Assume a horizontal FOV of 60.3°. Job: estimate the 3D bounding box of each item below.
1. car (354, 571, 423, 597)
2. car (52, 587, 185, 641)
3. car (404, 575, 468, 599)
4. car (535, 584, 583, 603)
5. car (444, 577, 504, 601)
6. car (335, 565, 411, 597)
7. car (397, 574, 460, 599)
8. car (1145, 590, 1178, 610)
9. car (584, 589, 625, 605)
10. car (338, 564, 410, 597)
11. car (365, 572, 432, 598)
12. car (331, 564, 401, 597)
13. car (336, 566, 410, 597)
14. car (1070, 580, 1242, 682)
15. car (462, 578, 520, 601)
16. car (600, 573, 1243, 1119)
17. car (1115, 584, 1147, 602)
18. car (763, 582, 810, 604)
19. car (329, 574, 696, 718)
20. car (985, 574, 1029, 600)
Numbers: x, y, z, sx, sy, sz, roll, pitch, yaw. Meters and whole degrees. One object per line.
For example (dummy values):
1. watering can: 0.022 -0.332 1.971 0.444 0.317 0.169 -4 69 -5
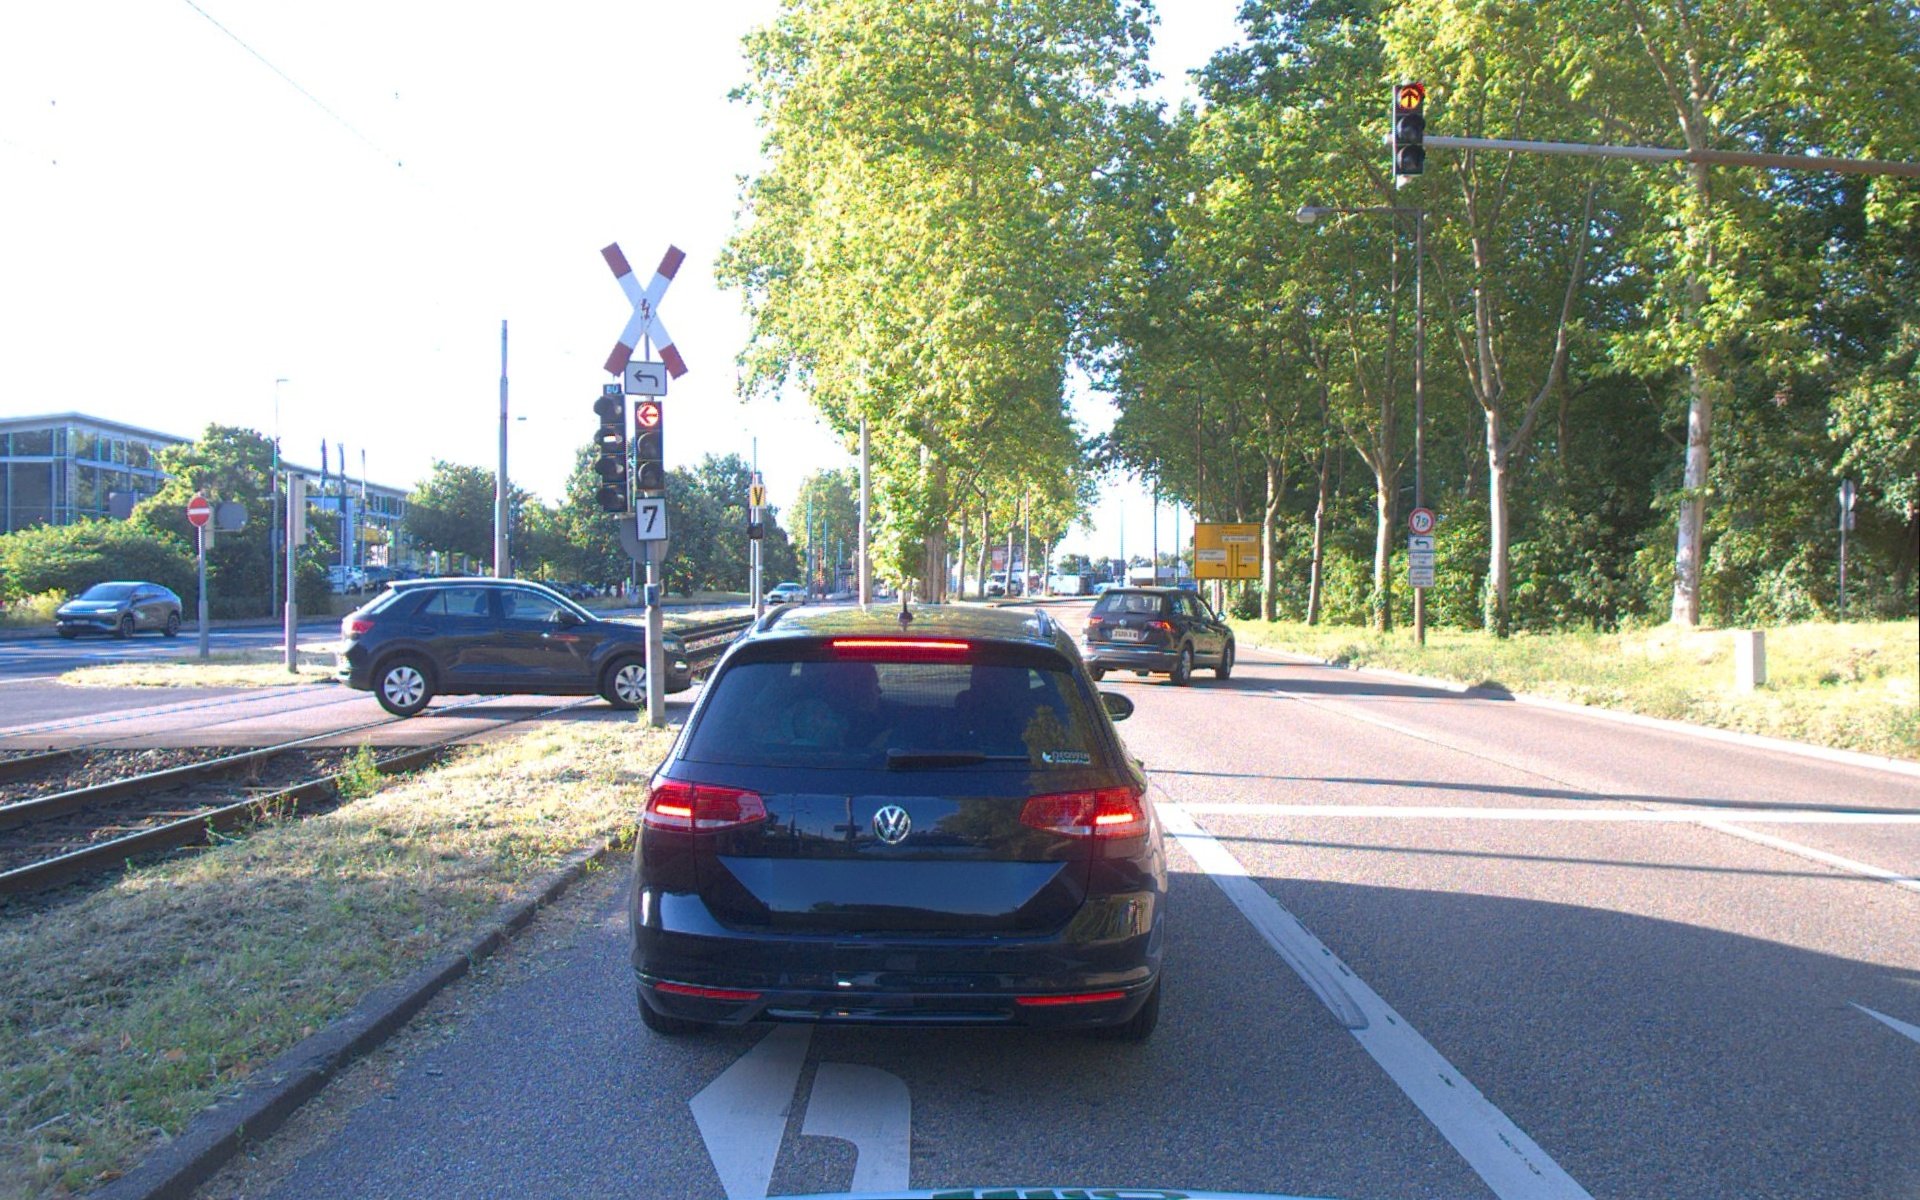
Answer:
1. car: -35.207 -0.981 101.921 3.930 1.583 1.732 1 0 -22
2. car: -25.299 0.383 49.899 1.823 1.507 4.172 1 1 1
3. car: -36.045 -0.867 113.790 3.913 1.583 1.740 1 0 -9
4. car: -35.229 -0.562 145.363 3.909 1.649 1.742 1 0 -6
5. car: -35.578 -0.811 121.244 3.909 1.649 1.742 1 0 -6
6. car: -32.915 -1.047 92.705 3.930 1.734 1.732 1 0 -22
7. car: -35.714 -0.888 111.095 3.930 1.583 1.732 1 0 -22
8. car: 24.752 0.029 203.391 2.055 2.361 5.844 1 1 28
9. car: -35.974 -0.338 167.424 3.909 1.583 1.742 1 0 -5
10. car: -34.447 -1.120 97.269 3.930 1.848 1.732 1 0 -22
11. car: -35.549 -0.954 104.700 3.930 1.583 1.732 1 0 -22
12. car: -35.554 -1.152 99.006 3.930 1.848 1.732 1 0 -22
13. car: -33.698 -1.057 94.943 3.930 1.734 1.732 1 0 -22
14. car: 3.566 0.524 29.366 1.835 1.663 4.367 0 -1 24
15. car: -35.248 -0.769 124.460 3.909 1.649 1.742 1 0 -6
16. car: -0.139 0.682 6.383 1.758 1.490 3.582 1 0 -1
17. car: 20.489 -0.848 197.911 2.056 2.101 4.871 1 1 29
18. car: -12.547 -0.506 119.863 1.823 1.507 4.092 1 1 20
19. car: -5.339 0.503 19.971 4.084 1.588 1.706 -1 0 -16
20. car: 4.640 -1.266 161.002 2.054 2.504 5.847 1 1 26
